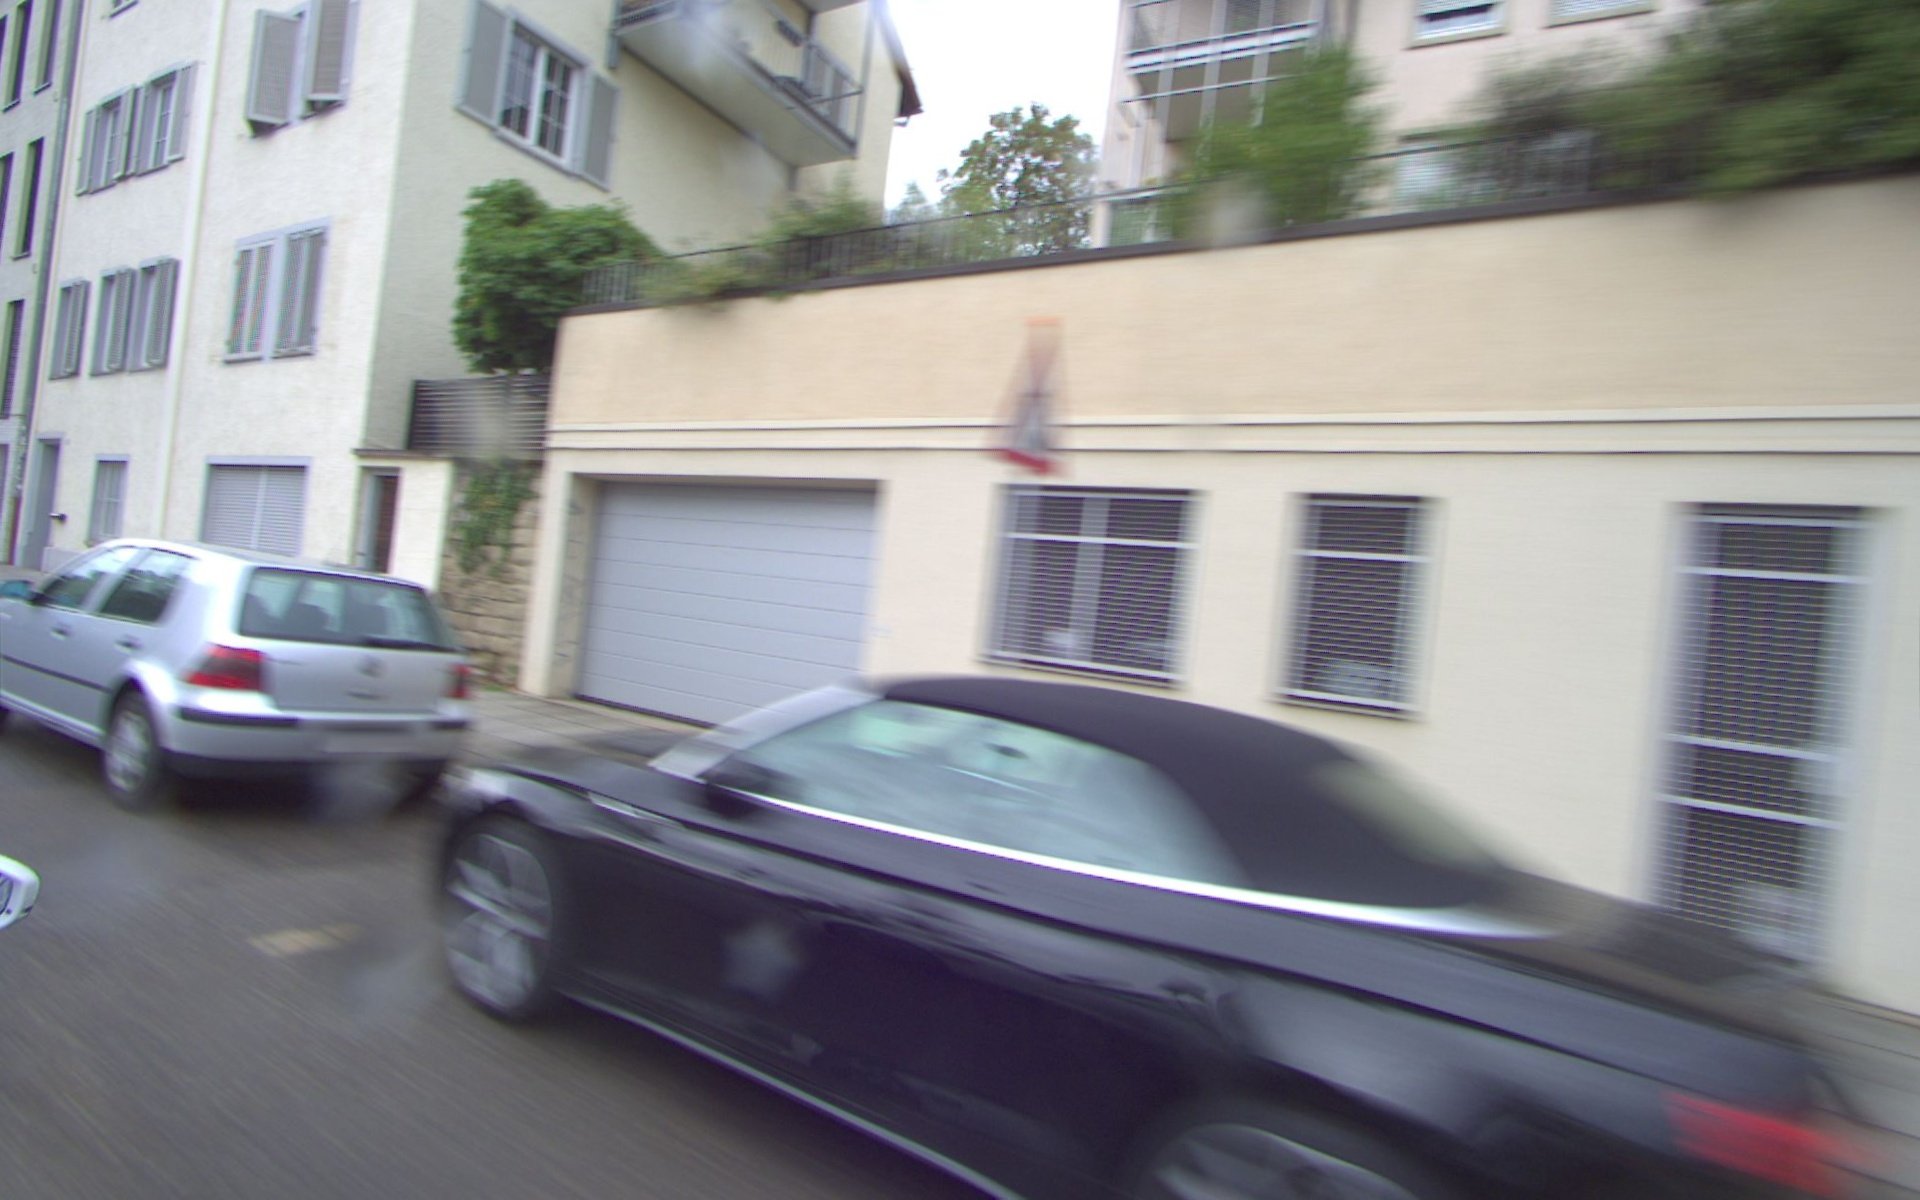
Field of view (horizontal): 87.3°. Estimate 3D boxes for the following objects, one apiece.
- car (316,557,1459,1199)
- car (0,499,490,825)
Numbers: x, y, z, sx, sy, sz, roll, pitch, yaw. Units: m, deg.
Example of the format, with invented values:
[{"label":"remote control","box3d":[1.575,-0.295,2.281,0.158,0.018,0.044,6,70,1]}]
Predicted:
[{"label":"car","box3d":[-0.408,0.859,3.624,3.697,1.470,1.633,7,-2,32]},{"label":"car","box3d":[-5.074,0.282,6.680,3.697,1.470,1.633,7,-2,32]}]
